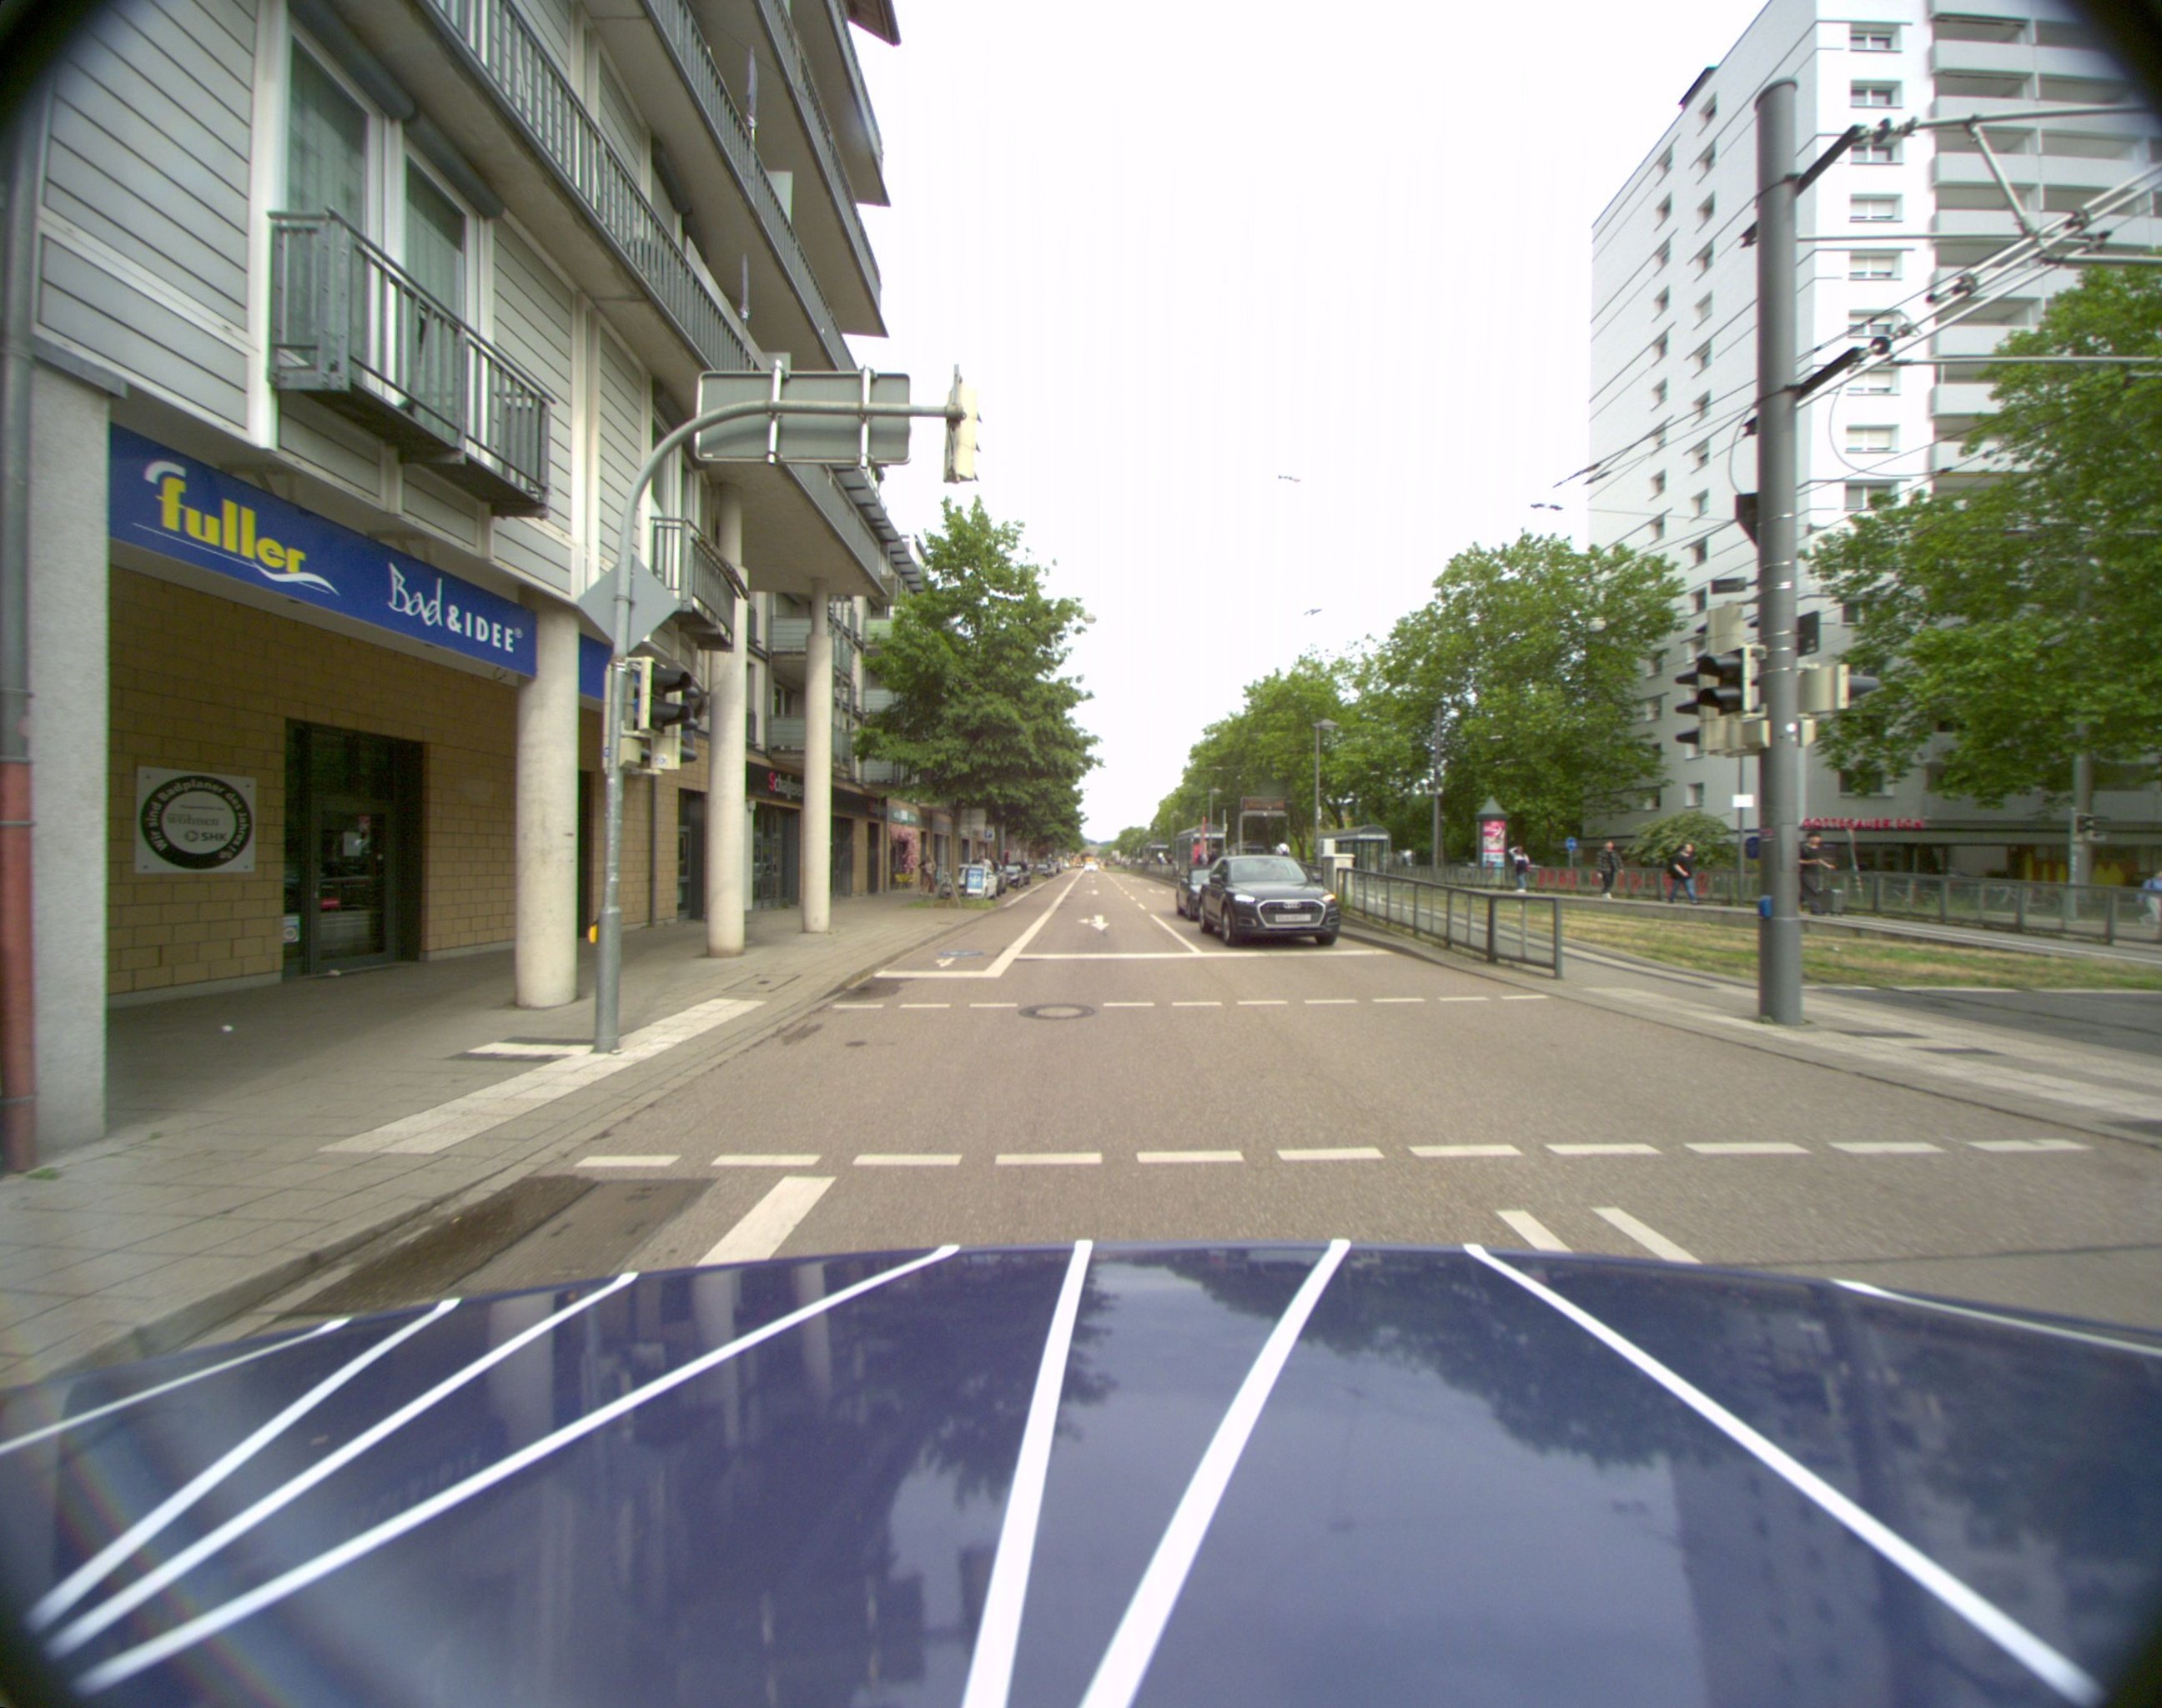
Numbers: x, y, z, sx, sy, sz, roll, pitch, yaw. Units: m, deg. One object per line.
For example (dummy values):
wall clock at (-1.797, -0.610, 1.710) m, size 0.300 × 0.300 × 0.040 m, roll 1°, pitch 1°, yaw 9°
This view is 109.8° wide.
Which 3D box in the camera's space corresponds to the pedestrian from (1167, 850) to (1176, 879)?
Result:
pedestrian at (6.467, 0.757, 54.433) m, size 0.585 × 2.038 × 0.821 m, roll -1°, pitch 0°, yaw 4°

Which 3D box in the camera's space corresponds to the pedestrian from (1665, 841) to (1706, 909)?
pedestrian at (15.708, 0.545, 19.751) m, size 0.622 × 1.740 × 0.548 m, roll -1°, pitch 0°, yaw 2°

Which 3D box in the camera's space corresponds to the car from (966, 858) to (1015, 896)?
car at (-4.281, 1.041, 36.312) m, size 1.730 × 1.652 × 3.943 m, roll 2°, pitch 0°, yaw 1°

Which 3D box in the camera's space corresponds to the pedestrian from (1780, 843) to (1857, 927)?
pedestrian at (15.362, 0.630, 15.852) m, size 0.742 × 1.685 × 0.879 m, roll -1°, pitch 0°, yaw 2°

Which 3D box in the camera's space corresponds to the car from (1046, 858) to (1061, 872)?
car at (-3.456, 1.377, 96.498) m, size 1.730 × 1.675 × 3.816 m, roll 2°, pitch 0°, yaw 1°

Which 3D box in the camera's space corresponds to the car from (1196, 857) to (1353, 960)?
car at (3.441, 0.884, 14.374) m, size 1.916 × 1.637 × 4.368 m, roll -1°, pitch 0°, yaw 1°

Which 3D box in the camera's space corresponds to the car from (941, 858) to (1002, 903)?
car at (-4.359, 1.008, 30.817) m, size 1.730 × 1.652 × 4.104 m, roll 3°, pitch 0°, yaw 1°

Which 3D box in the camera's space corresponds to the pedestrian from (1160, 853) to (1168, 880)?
pedestrian at (6.324, 0.930, 58.109) m, size 0.585 × 2.038 × 0.821 m, roll -1°, pitch 0°, yaw 4°

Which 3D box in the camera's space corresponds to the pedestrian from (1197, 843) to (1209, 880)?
pedestrian at (6.779, 0.397, 42.146) m, size 0.585 × 2.038 × 0.821 m, roll -1°, pitch 0°, yaw 4°

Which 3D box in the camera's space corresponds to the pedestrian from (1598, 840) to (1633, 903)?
pedestrian at (15.334, 0.497, 21.802) m, size 0.622 × 1.779 × 0.534 m, roll -1°, pitch 0°, yaw 2°

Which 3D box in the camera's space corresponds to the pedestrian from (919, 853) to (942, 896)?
pedestrian at (-6.324, 0.860, 31.911) m, size 0.745 × 1.795 × 0.839 m, roll -1°, pitch 0°, yaw 0°

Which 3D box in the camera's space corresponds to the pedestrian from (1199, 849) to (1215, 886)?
pedestrian at (6.190, 0.639, 37.321) m, size 0.683 × 1.781 × 0.821 m, roll -1°, pitch 0°, yaw 4°

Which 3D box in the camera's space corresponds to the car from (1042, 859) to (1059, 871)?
car at (-3.638, 1.279, 90.530) m, size 1.730 × 1.375 × 3.816 m, roll 2°, pitch 0°, yaw 1°

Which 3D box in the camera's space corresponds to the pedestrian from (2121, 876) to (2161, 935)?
pedestrian at (28.560, 1.361, 20.246) m, size 0.554 × 1.500 × 0.854 m, roll -1°, pitch 0°, yaw 6°

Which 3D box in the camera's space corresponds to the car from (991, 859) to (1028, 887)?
car at (-4.215, 1.115, 45.118) m, size 1.684 × 1.536 × 3.943 m, roll 2°, pitch 0°, yaw 1°

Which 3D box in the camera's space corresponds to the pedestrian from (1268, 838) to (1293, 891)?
pedestrian at (6.645, 0.354, 25.311) m, size 0.662 × 1.740 × 0.534 m, roll -1°, pitch 0°, yaw 2°

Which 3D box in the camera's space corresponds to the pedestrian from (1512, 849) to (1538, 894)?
pedestrian at (16.414, 0.650, 28.125) m, size 0.622 × 1.659 × 0.565 m, roll -1°, pitch 0°, yaw 2°

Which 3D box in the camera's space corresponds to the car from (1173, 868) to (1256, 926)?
car at (3.563, 1.109, 20.932) m, size 1.637 × 1.366 × 4.014 m, roll -1°, pitch 0°, yaw 1°

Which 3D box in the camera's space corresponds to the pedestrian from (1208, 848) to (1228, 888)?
pedestrian at (6.221, 0.634, 34.465) m, size 0.661 × 1.781 × 0.536 m, roll -1°, pitch 0°, yaw 41°

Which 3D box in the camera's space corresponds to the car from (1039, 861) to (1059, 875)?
car at (-3.337, 1.477, 79.764) m, size 1.730 × 1.375 × 3.816 m, roll 2°, pitch 0°, yaw 1°

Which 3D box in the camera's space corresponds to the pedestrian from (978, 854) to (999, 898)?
pedestrian at (-4.091, 0.985, 33.639) m, size 0.652 × 1.922 × 0.644 m, roll -1°, pitch 0°, yaw 16°

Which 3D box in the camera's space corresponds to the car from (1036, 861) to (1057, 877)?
car at (-3.371, 1.449, 74.415) m, size 1.730 × 1.375 × 3.816 m, roll 2°, pitch 0°, yaw 1°

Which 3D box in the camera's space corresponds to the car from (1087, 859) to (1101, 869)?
car at (1.795, 1.411, 107.071) m, size 1.865 × 1.339 × 3.816 m, roll 2°, pitch 0°, yaw 1°

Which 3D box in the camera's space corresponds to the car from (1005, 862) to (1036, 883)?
car at (-4.161, 1.249, 52.771) m, size 1.730 × 1.375 × 3.816 m, roll 2°, pitch 0°, yaw 1°
